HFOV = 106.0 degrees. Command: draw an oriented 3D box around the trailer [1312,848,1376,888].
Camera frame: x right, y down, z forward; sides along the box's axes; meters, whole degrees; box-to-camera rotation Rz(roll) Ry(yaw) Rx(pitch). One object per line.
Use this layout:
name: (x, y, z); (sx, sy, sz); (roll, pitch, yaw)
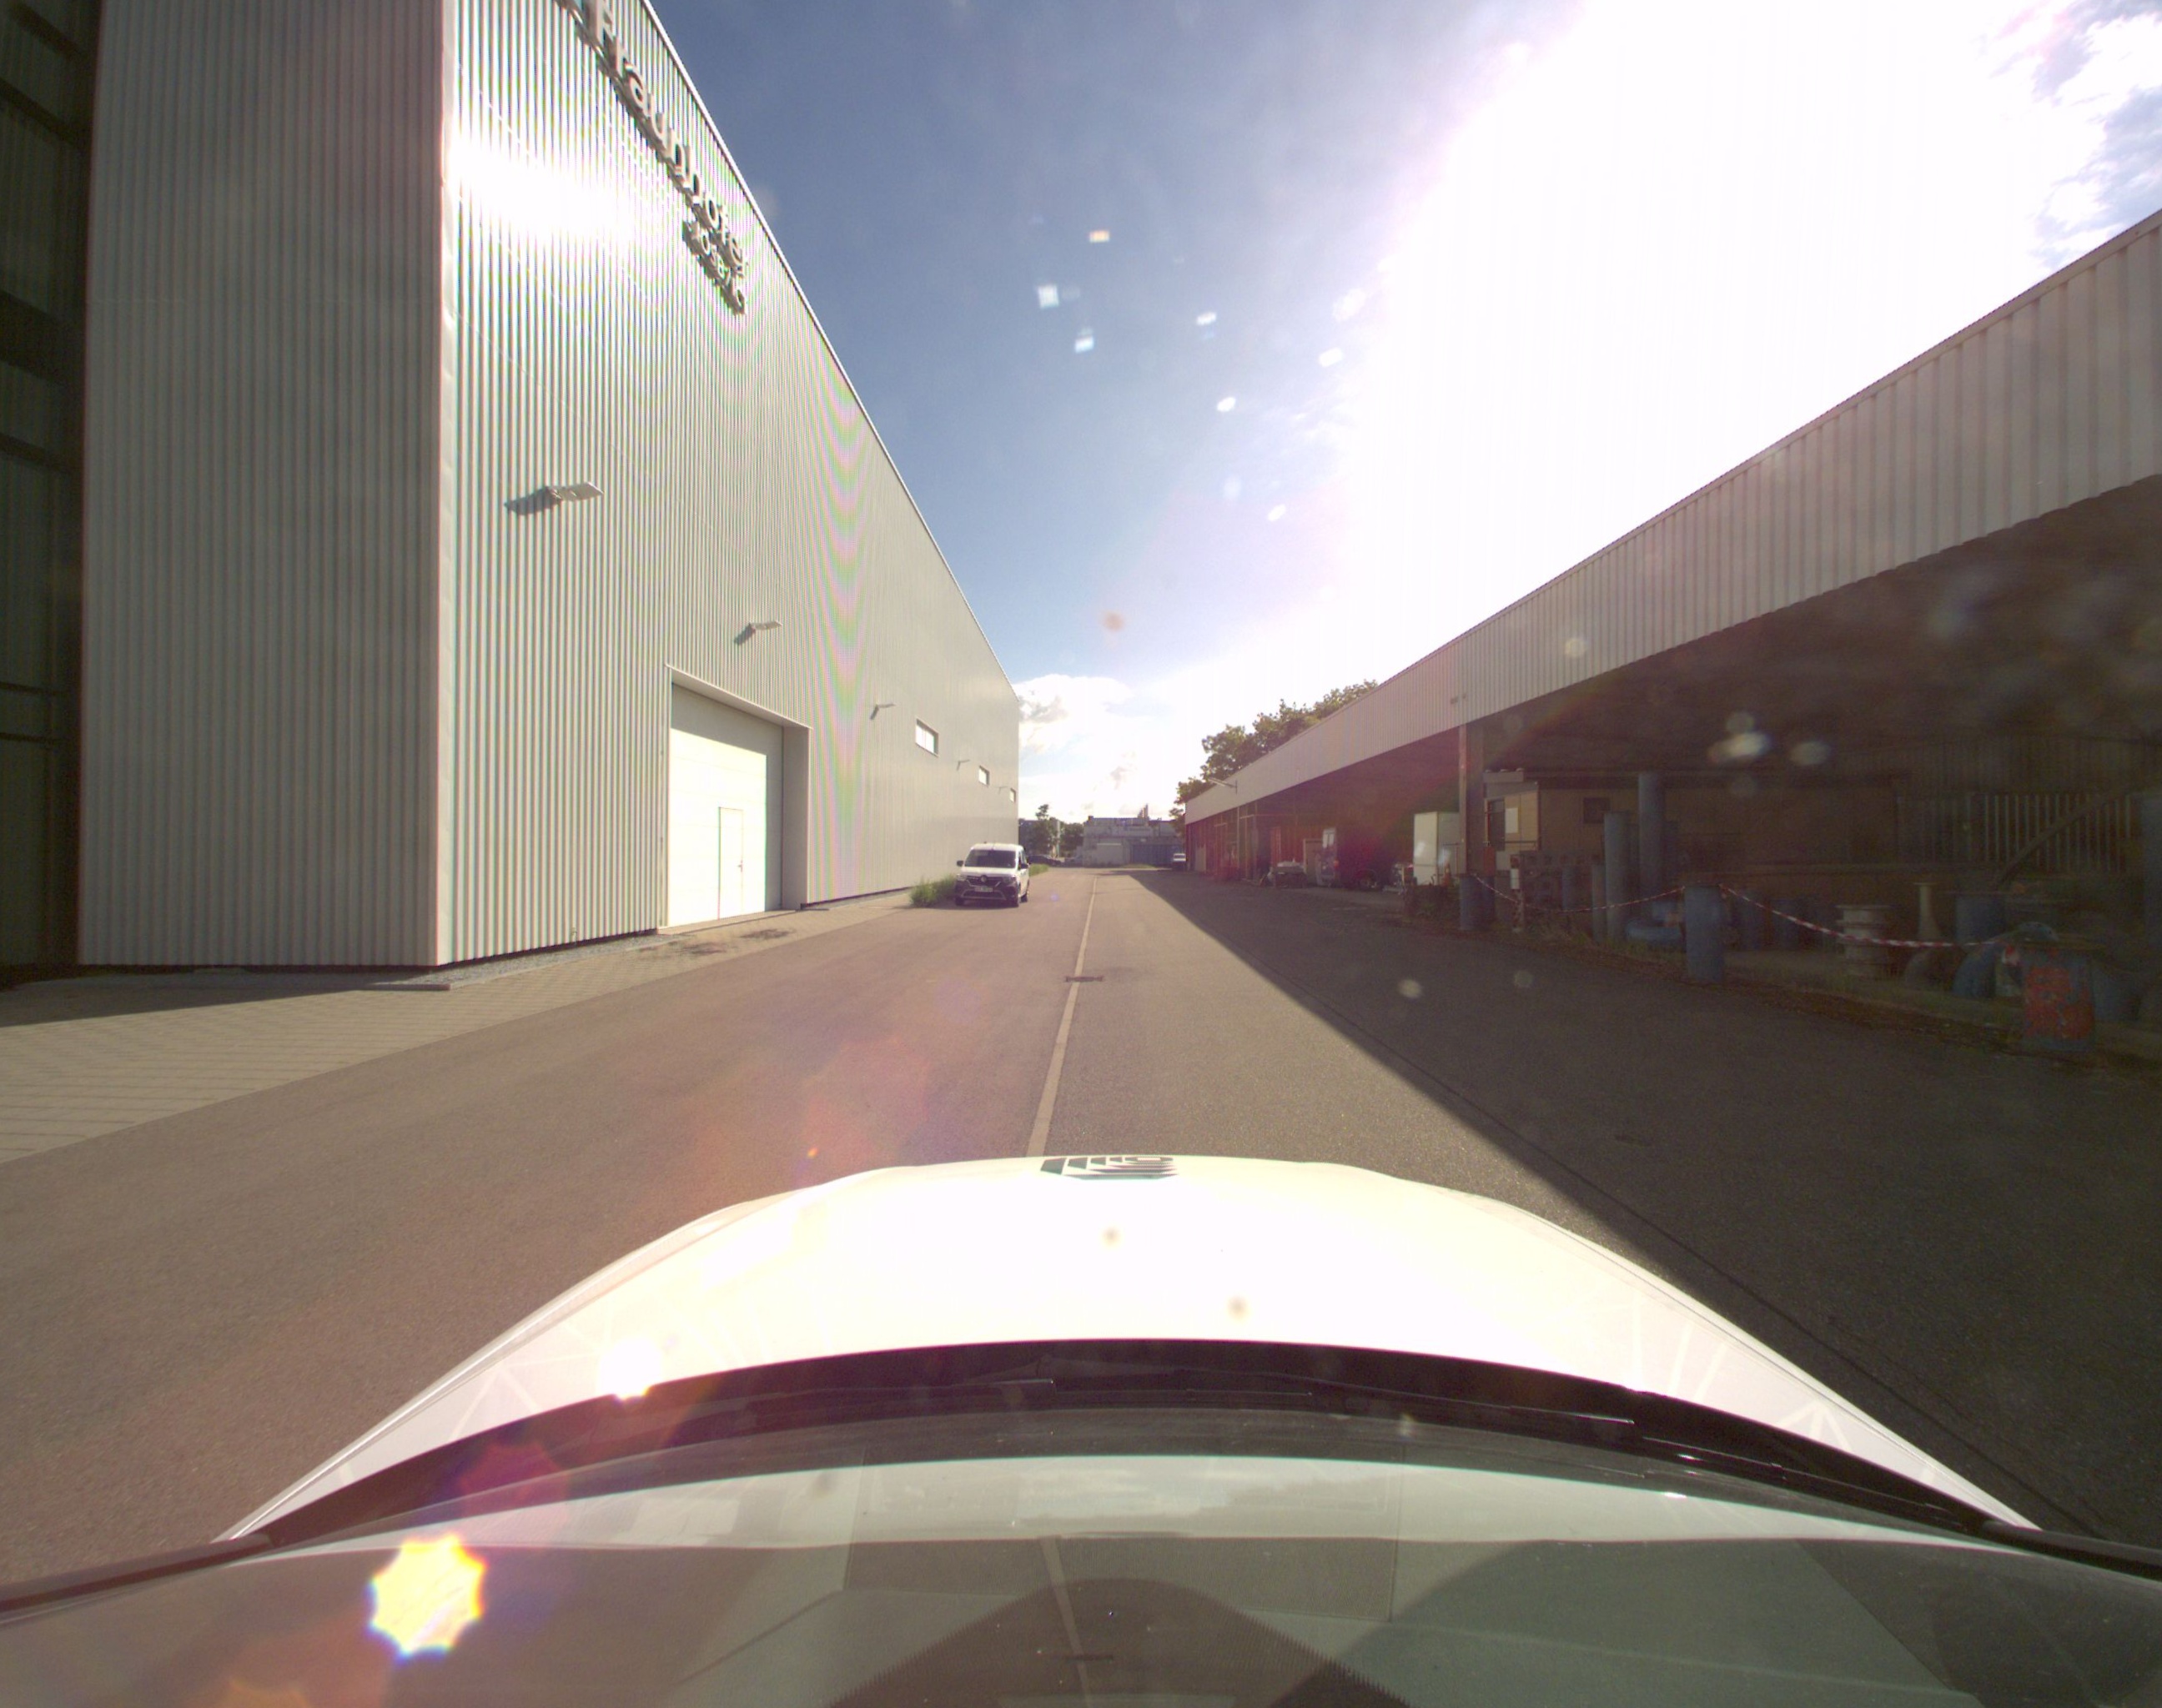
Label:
trailer: (10.320, 0.535, 32.098); (2.028, 1.466, 1.741); (-1, 0, 5)

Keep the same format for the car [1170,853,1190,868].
car: (11.359, 0.743, 93.782); (1.971, 1.602, 4.381); (-1, 1, 3)

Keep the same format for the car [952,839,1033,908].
car: (-2.533, 0.550, 24.444); (1.777, 1.816, 4.602); (1, -1, 1)

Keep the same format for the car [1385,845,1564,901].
car: (11.131, 0.516, 23.233); (4.237, 1.471, 1.868); (-1, 0, -2)

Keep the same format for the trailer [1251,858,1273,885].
trailer: (7.819, 0.763, 35.239); (0.550, 1.118, 1.546); (-1, -1, 0)

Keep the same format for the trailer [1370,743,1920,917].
trailer: (12.080, -0.486, 18.172); (10.230, 3.343, 2.802); (-1, 0, 1)

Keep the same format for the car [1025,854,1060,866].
car: (-4.953, 0.801, 106.452); (4.432, 1.531, 1.824); (-1, -1, 0)

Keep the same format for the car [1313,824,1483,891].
car: (11.369, 0.119, 29.474); (5.314, 2.281, 2.152); (-1, -1, 0)

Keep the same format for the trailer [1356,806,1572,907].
trailer: (9.588, 0.074, 20.698); (4.499, 2.342, 2.048); (-1, -1, 2)

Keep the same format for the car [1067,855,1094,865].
car: (-0.055, 0.967, 134.291); (4.288, 1.457, 1.824); (-1, -1, 0)

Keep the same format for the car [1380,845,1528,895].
car: (11.974, 0.501, 26.308); (3.953, 1.514, 1.839); (-1, -1, -2)
